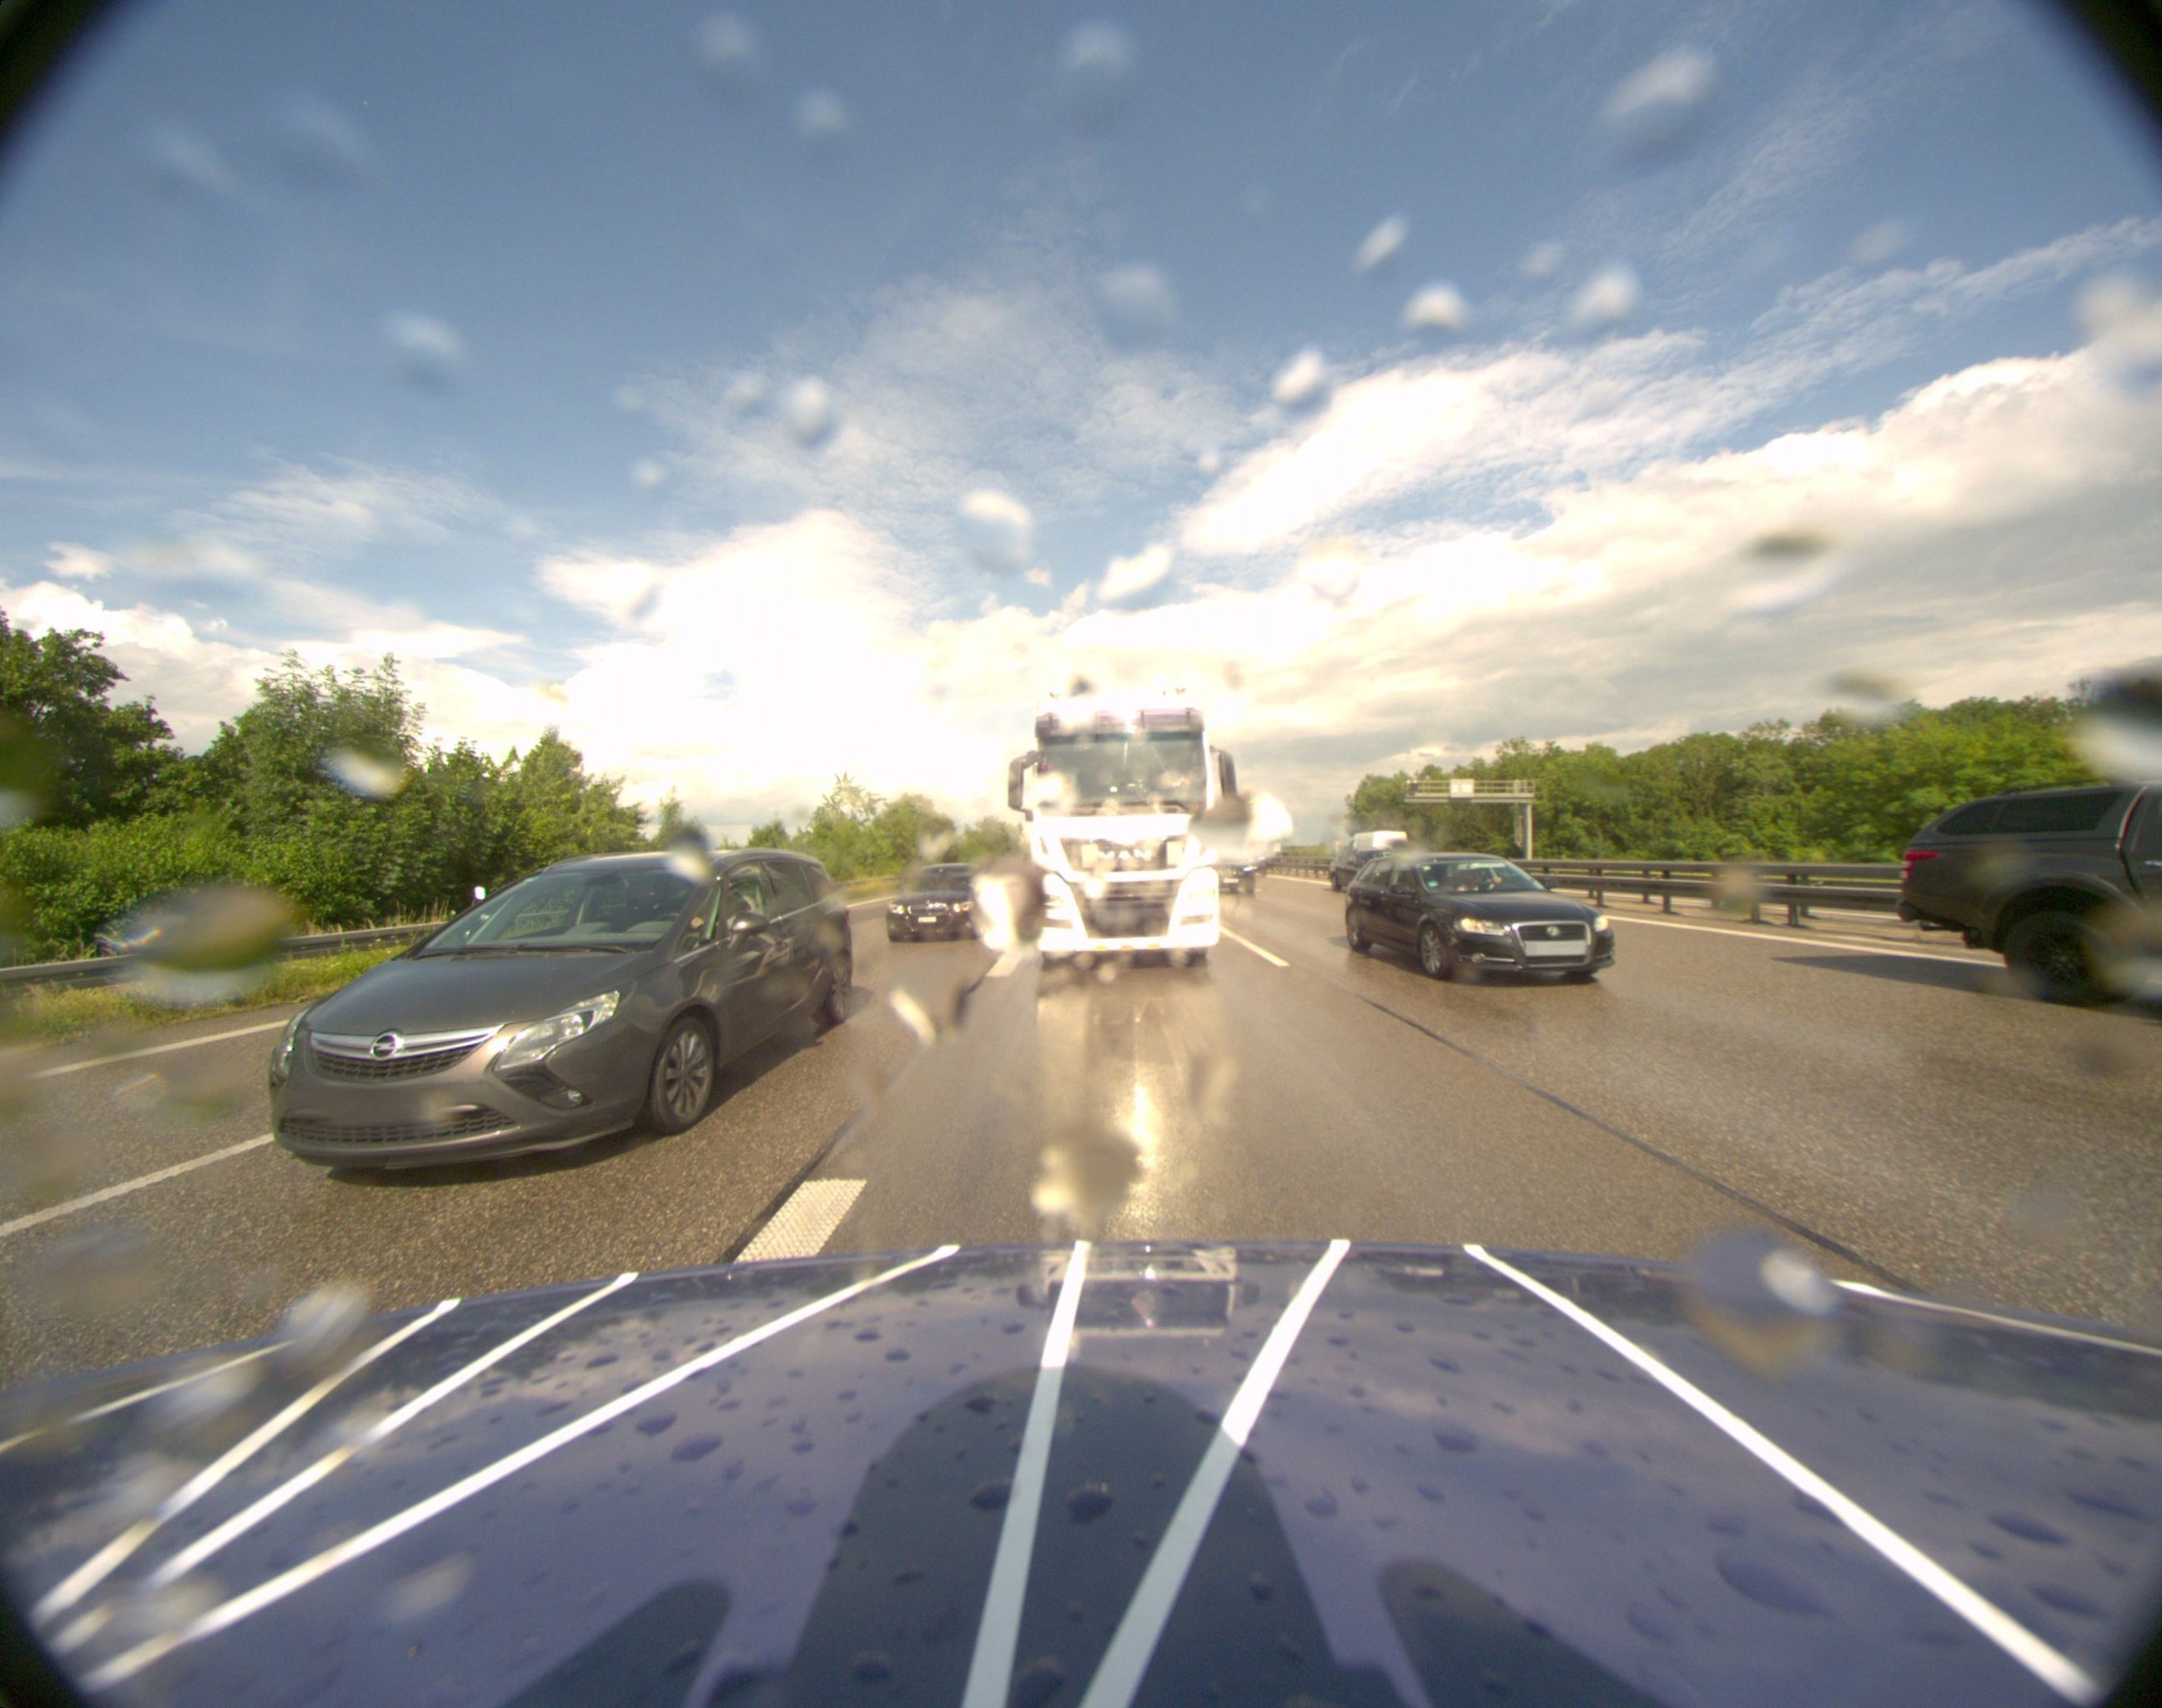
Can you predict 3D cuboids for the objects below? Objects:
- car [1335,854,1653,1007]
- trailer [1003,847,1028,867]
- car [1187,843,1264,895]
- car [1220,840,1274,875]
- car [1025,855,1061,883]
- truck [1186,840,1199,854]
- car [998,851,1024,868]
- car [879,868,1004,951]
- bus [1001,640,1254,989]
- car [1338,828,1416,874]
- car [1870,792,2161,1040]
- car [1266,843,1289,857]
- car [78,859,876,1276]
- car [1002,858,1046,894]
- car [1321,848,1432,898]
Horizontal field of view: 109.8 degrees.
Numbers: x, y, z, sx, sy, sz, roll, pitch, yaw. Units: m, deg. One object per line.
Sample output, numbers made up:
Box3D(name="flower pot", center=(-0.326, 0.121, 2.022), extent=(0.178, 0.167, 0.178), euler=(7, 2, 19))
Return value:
Box3D(name="car", center=(4.699, 0.744, 9.433), extent=(1.754, 1.425, 4.054), euler=(-2, 0, 1))
Box3D(name="trailer", center=(-6.129, 0.277, 71.411), extent=(1.810, 1.736, 3.967), euler=(-3, 1, 0))
Box3D(name="car", center=(5.106, 0.496, 27.536), extent=(1.881, 1.669, 4.626), euler=(-2, 0, 0))
Box3D(name="car", center=(9.714, 0.183, 44.809), extent=(1.998, 1.906, 5.235), euler=(-2, 0, 0))
Box3D(name="car", center=(-2.159, 0.838, 44.055), extent=(1.858, 1.434, 3.999), euler=(-2, 1, 0))
Box3D(name="truck", center=(31.379, -1.882, 213.451), extent=(2.799, 3.861, 8.919), euler=(-2, 0, 3))
Box3D(name="car", center=(-6.175, 0.466, 67.209), extent=(1.747, 1.422, 4.404), euler=(-2, 0, 1))
Box3D(name="car", center=(-2.678, 1.024, 15.477), extent=(1.722, 1.346, 3.884), euler=(-2, 0, 1))
Box3D(name="bus", center=(0.641, -0.491, 14.096), extent=(2.904, 4.104, 9.845), euler=(-2, 0, 1))
Box3D(name="car", center=(17.013, -0.176, 44.090), extent=(2.119, 2.382, 6.102), euler=(-2, 0, 1))
Box3D(name="car", center=(8.865, 0.432, 4.986), extent=(1.811, 1.833, 5.418), euler=(-2, 0, 1))
Box3D(name="car", center=(22.118, -0.438, 85.565), extent=(1.754, 1.425, 3.635), euler=(-2, 0, 3))
Box3D(name="car", center=(-3.129, 0.901, 5.496), extent=(1.858, 1.622, 4.735), euler=(-2, 0, 1))
Box3D(name="car", center=(-2.391, 0.900, 32.504), extent=(1.744, 1.357, 3.999), euler=(-2, 0, -3))
Box3D(name="car", center=(9.430, 0.556, 24.649), extent=(1.925, 1.416, 4.372), euler=(-2, 1, 1))
